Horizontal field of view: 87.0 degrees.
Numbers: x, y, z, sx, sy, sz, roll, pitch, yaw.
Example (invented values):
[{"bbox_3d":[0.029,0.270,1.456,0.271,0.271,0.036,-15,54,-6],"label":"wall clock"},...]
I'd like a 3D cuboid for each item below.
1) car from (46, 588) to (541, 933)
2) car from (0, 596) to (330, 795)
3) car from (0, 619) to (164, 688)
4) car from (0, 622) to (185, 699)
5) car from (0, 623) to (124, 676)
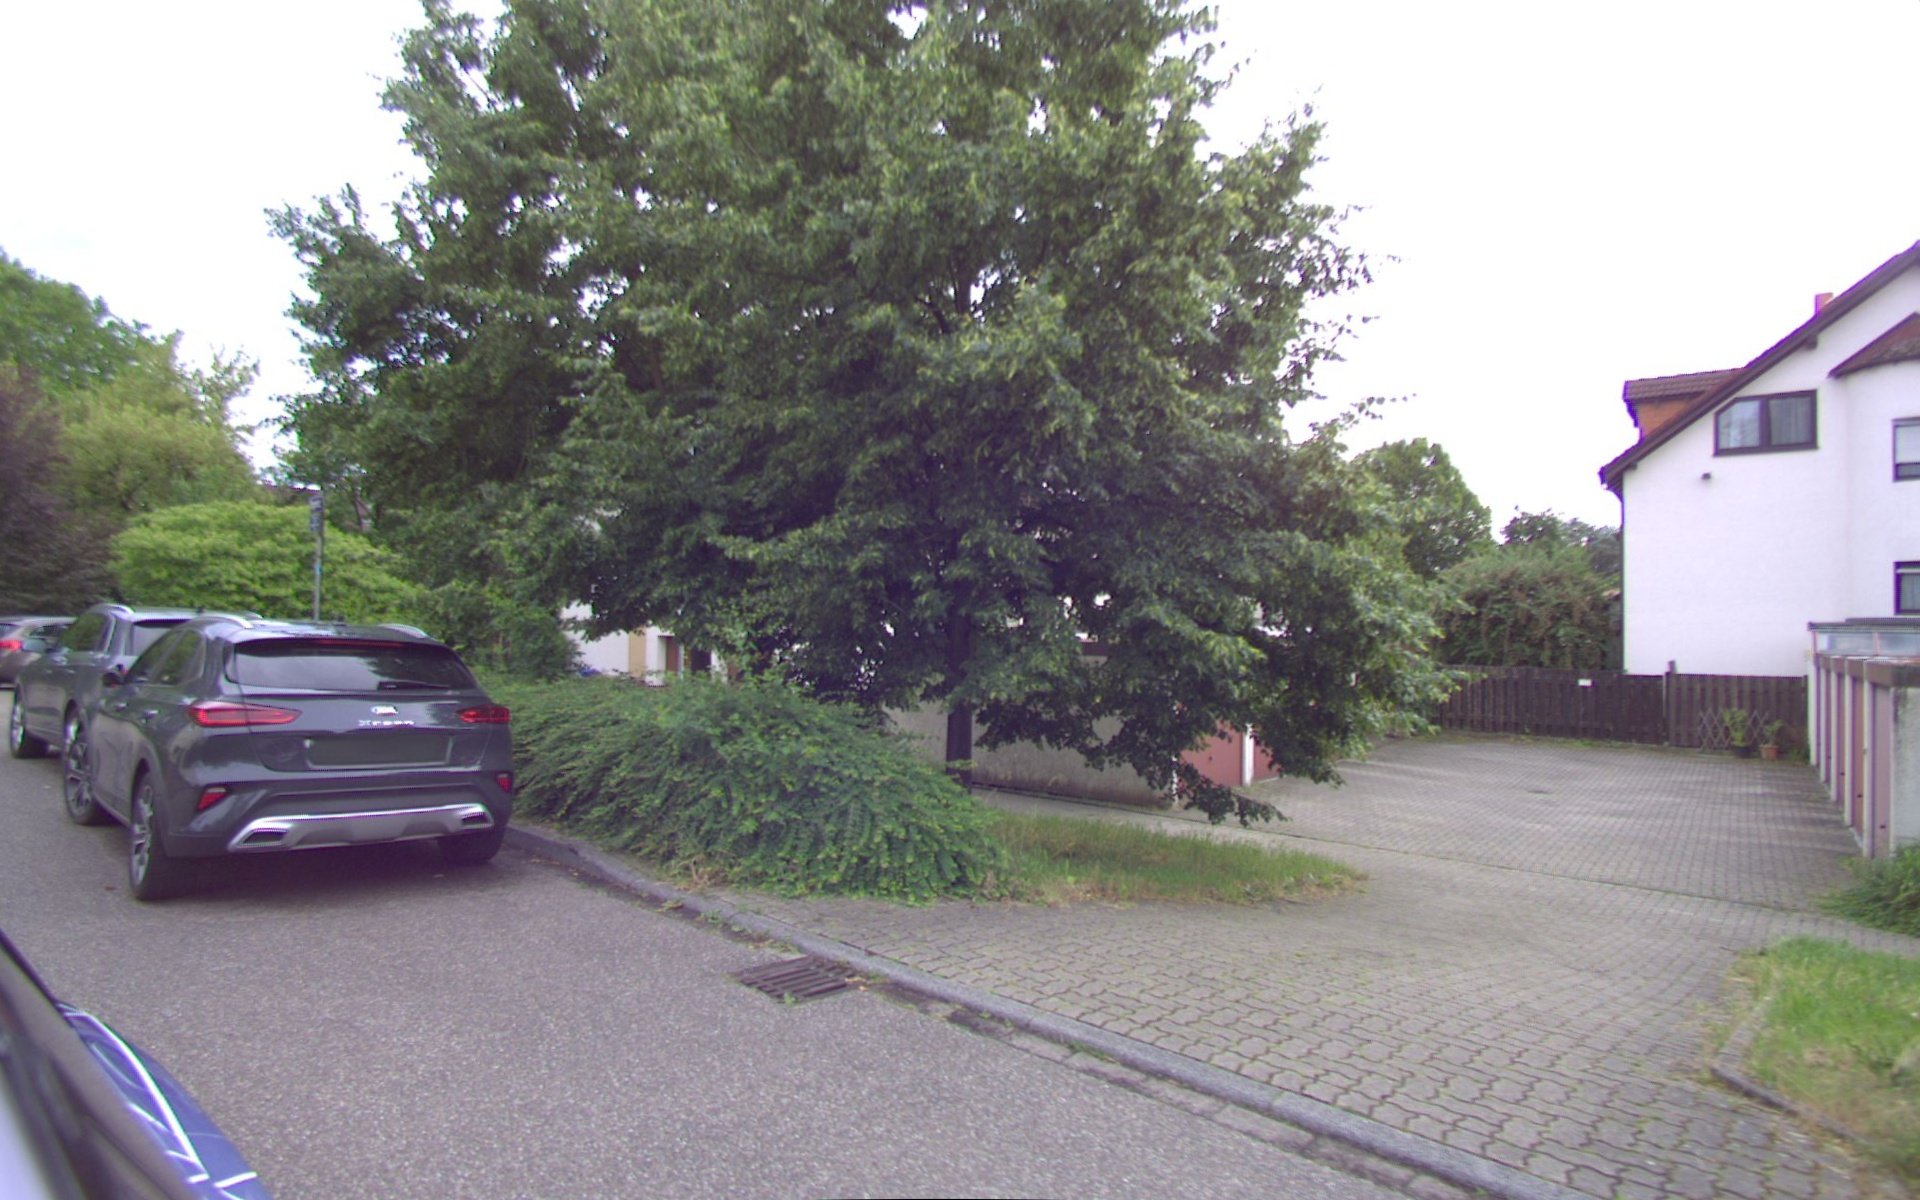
[{"bbox_3d":[-4.557,0.798,6.633,4.196,1.543,1.722,-1,-4,43],"label":"car"},{"bbox_3d":[-7.983,0.809,9.876,4.246,1.543,1.725,-1,-4,39],"label":"car"},{"bbox_3d":[-21.417,1.221,23.838,1.684,1.502,3.983,0,-2,13],"label":"car"},{"bbox_3d":[-19.306,1.246,21.779,1.684,1.502,3.983,0,-2,13],"label":"car"},{"bbox_3d":[-25.941,1.356,28.111,1.684,1.385,3.983,0,-2,13],"label":"car"}]
